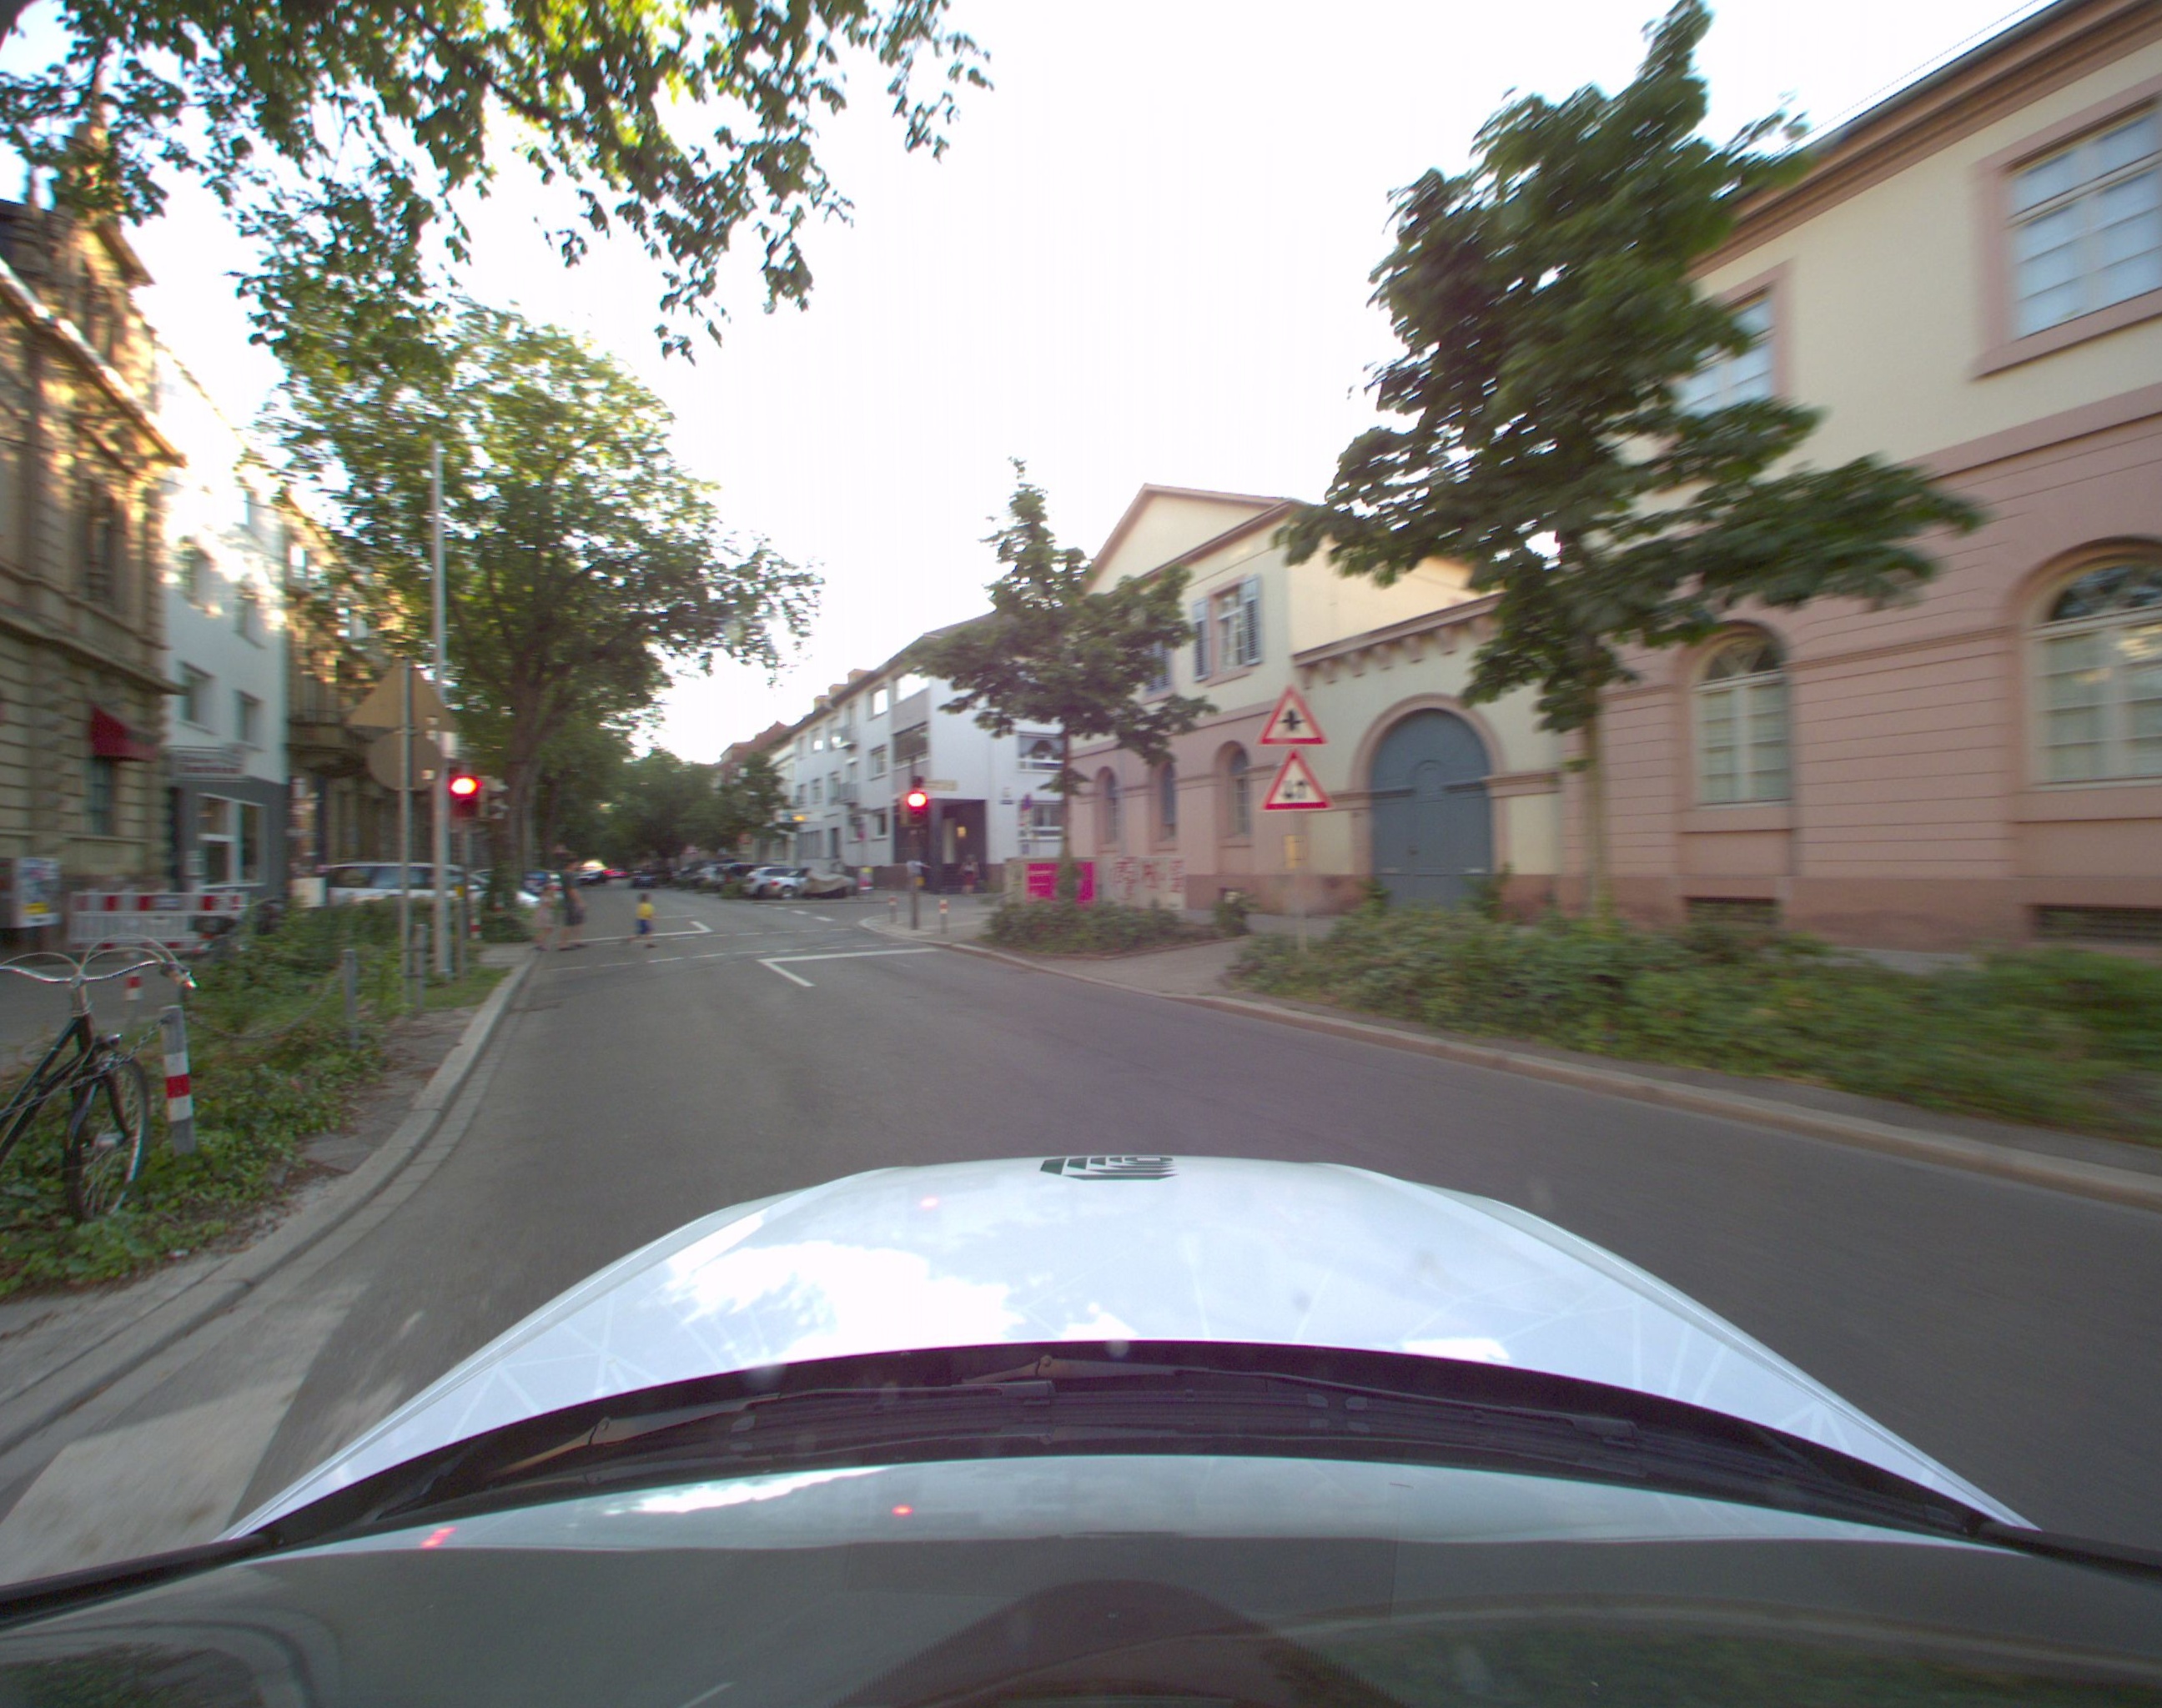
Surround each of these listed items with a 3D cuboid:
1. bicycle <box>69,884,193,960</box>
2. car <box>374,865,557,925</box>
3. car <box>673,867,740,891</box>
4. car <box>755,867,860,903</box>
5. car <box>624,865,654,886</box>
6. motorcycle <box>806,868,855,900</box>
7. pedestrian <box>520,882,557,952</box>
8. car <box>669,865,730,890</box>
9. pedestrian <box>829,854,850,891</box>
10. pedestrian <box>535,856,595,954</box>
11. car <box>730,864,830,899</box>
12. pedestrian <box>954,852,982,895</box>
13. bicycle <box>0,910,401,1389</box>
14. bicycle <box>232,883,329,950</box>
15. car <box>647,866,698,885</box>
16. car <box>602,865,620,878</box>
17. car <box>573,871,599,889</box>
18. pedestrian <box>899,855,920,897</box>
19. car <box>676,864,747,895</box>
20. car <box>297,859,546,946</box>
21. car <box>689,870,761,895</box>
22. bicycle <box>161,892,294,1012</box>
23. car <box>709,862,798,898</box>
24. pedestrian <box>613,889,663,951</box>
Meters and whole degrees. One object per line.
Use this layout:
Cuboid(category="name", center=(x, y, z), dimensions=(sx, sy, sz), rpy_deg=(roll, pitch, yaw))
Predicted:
Cuboid(category="bicycle", center=(-17.101, 1.170, 14.735), dimensions=(0.640, 1.202, 2.539), rpy_deg=(-1, -1, -30))
Cuboid(category="car", center=(-19.817, 1.272, 26.511), dimensions=(4.578, 1.689, 1.815), rpy_deg=(-1, -1, -32))
Cuboid(category="car", center=(-25.862, 1.714, 56.253), dimensions=(4.042, 1.530, 1.689), rpy_deg=(-1, -1, -32))
Cuboid(category="car", center=(-11.823, 1.322, 35.286), dimensions=(4.041, 1.342, 1.690), rpy_deg=(-2, 0, -32))
Cuboid(category="car", center=(-35.532, 1.714, 65.424), dimensions=(1.838, 1.562, 3.986), rpy_deg=(1, -2, -33))
Cuboid(category="motorcycle", center=(-10.028, 1.199, 32.573), dimensions=(1.808, 1.199, 0.608), rpy_deg=(-2, -1, -23))
Cuboid(category="pedestrian", center=(-10.690, 1.226, 16.052), dimensions=(0.542, 1.336, 0.502), rpy_deg=(0, -1, -27))
Cuboid(category="car", center=(-29.313, 1.781, 62.599), dimensions=(4.042, 1.830, 1.689), rpy_deg=(-1, -1, -32))
Cuboid(category="pedestrian", center=(-12.117, 0.922, 40.875), dimensions=(0.772, 1.841, 0.934), rpy_deg=(0, -1, -31))
Cuboid(category="pedestrian", center=(-10.042, 0.964, 15.895), dimensions=(0.893, 1.815, 0.787), rpy_deg=(-1, 0, -28))
Cuboid(category="car", center=(-13.722, 1.226, 37.187), dimensions=(4.042, 1.442, 1.689), rpy_deg=(-1, 0, -32))
Cuboid(category="pedestrian", center=(-4.655, 0.795, 33.475), dimensions=(0.924, 1.752, 0.773), rpy_deg=(-1, -1, 10))
Cuboid(category="bicycle", center=(-3.869, 0.950, 3.223), dimensions=(0.845, 1.267, 2.557), rpy_deg=(-2, 0, -17))
Cuboid(category="bicycle", center=(-15.798, 1.182, 16.148), dimensions=(0.739, 1.187, 2.608), rpy_deg=(1, -2, -31))
Cuboid(category="car", center=(-37.584, 1.960, 74.928), dimensions=(4.042, 1.602, 1.689), rpy_deg=(-1, -1, -32))
Cuboid(category="car", center=(-64.318, 2.420, 111.402), dimensions=(1.937, 1.660, 3.959), rpy_deg=(-1, -1, -32))
Cuboid(category="car", center=(-46.111, 2.419, 75.820), dimensions=(1.917, 1.578, 3.949), rpy_deg=(0, -2, -34))
Cuboid(category="pedestrian", center=(-7.204, 0.920, 34.150), dimensions=(0.708, 1.752, 0.693), rpy_deg=(0, -1, -28))
Cuboid(category="car", center=(-24.422, 1.654, 53.818), dimensions=(4.042, 1.815, 1.689), rpy_deg=(-1, 0, -32))
Cuboid(category="car", center=(-15.993, 1.105, 20.105), dimensions=(4.582, 1.835, 1.813), rpy_deg=(-1, -1, -35))
Cuboid(category="car", center=(-22.784, 1.772, 52.150), dimensions=(4.042, 1.409, 1.689), rpy_deg=(-1, 0, -32))
Cuboid(category="bicycle", center=(-9.709, 1.050, 9.343), dimensions=(0.514, 1.153, 2.080), rpy_deg=(1, -1, -32))
Cuboid(category="car", center=(-17.077, 1.316, 42.468), dimensions=(4.042, 1.690, 1.689), rpy_deg=(-1, 0, -32))
Cuboid(category="pedestrian", center=(-8.612, 1.268, 15.847), dimensions=(0.839, 1.121, 0.562), rpy_deg=(0, -1, -27))
